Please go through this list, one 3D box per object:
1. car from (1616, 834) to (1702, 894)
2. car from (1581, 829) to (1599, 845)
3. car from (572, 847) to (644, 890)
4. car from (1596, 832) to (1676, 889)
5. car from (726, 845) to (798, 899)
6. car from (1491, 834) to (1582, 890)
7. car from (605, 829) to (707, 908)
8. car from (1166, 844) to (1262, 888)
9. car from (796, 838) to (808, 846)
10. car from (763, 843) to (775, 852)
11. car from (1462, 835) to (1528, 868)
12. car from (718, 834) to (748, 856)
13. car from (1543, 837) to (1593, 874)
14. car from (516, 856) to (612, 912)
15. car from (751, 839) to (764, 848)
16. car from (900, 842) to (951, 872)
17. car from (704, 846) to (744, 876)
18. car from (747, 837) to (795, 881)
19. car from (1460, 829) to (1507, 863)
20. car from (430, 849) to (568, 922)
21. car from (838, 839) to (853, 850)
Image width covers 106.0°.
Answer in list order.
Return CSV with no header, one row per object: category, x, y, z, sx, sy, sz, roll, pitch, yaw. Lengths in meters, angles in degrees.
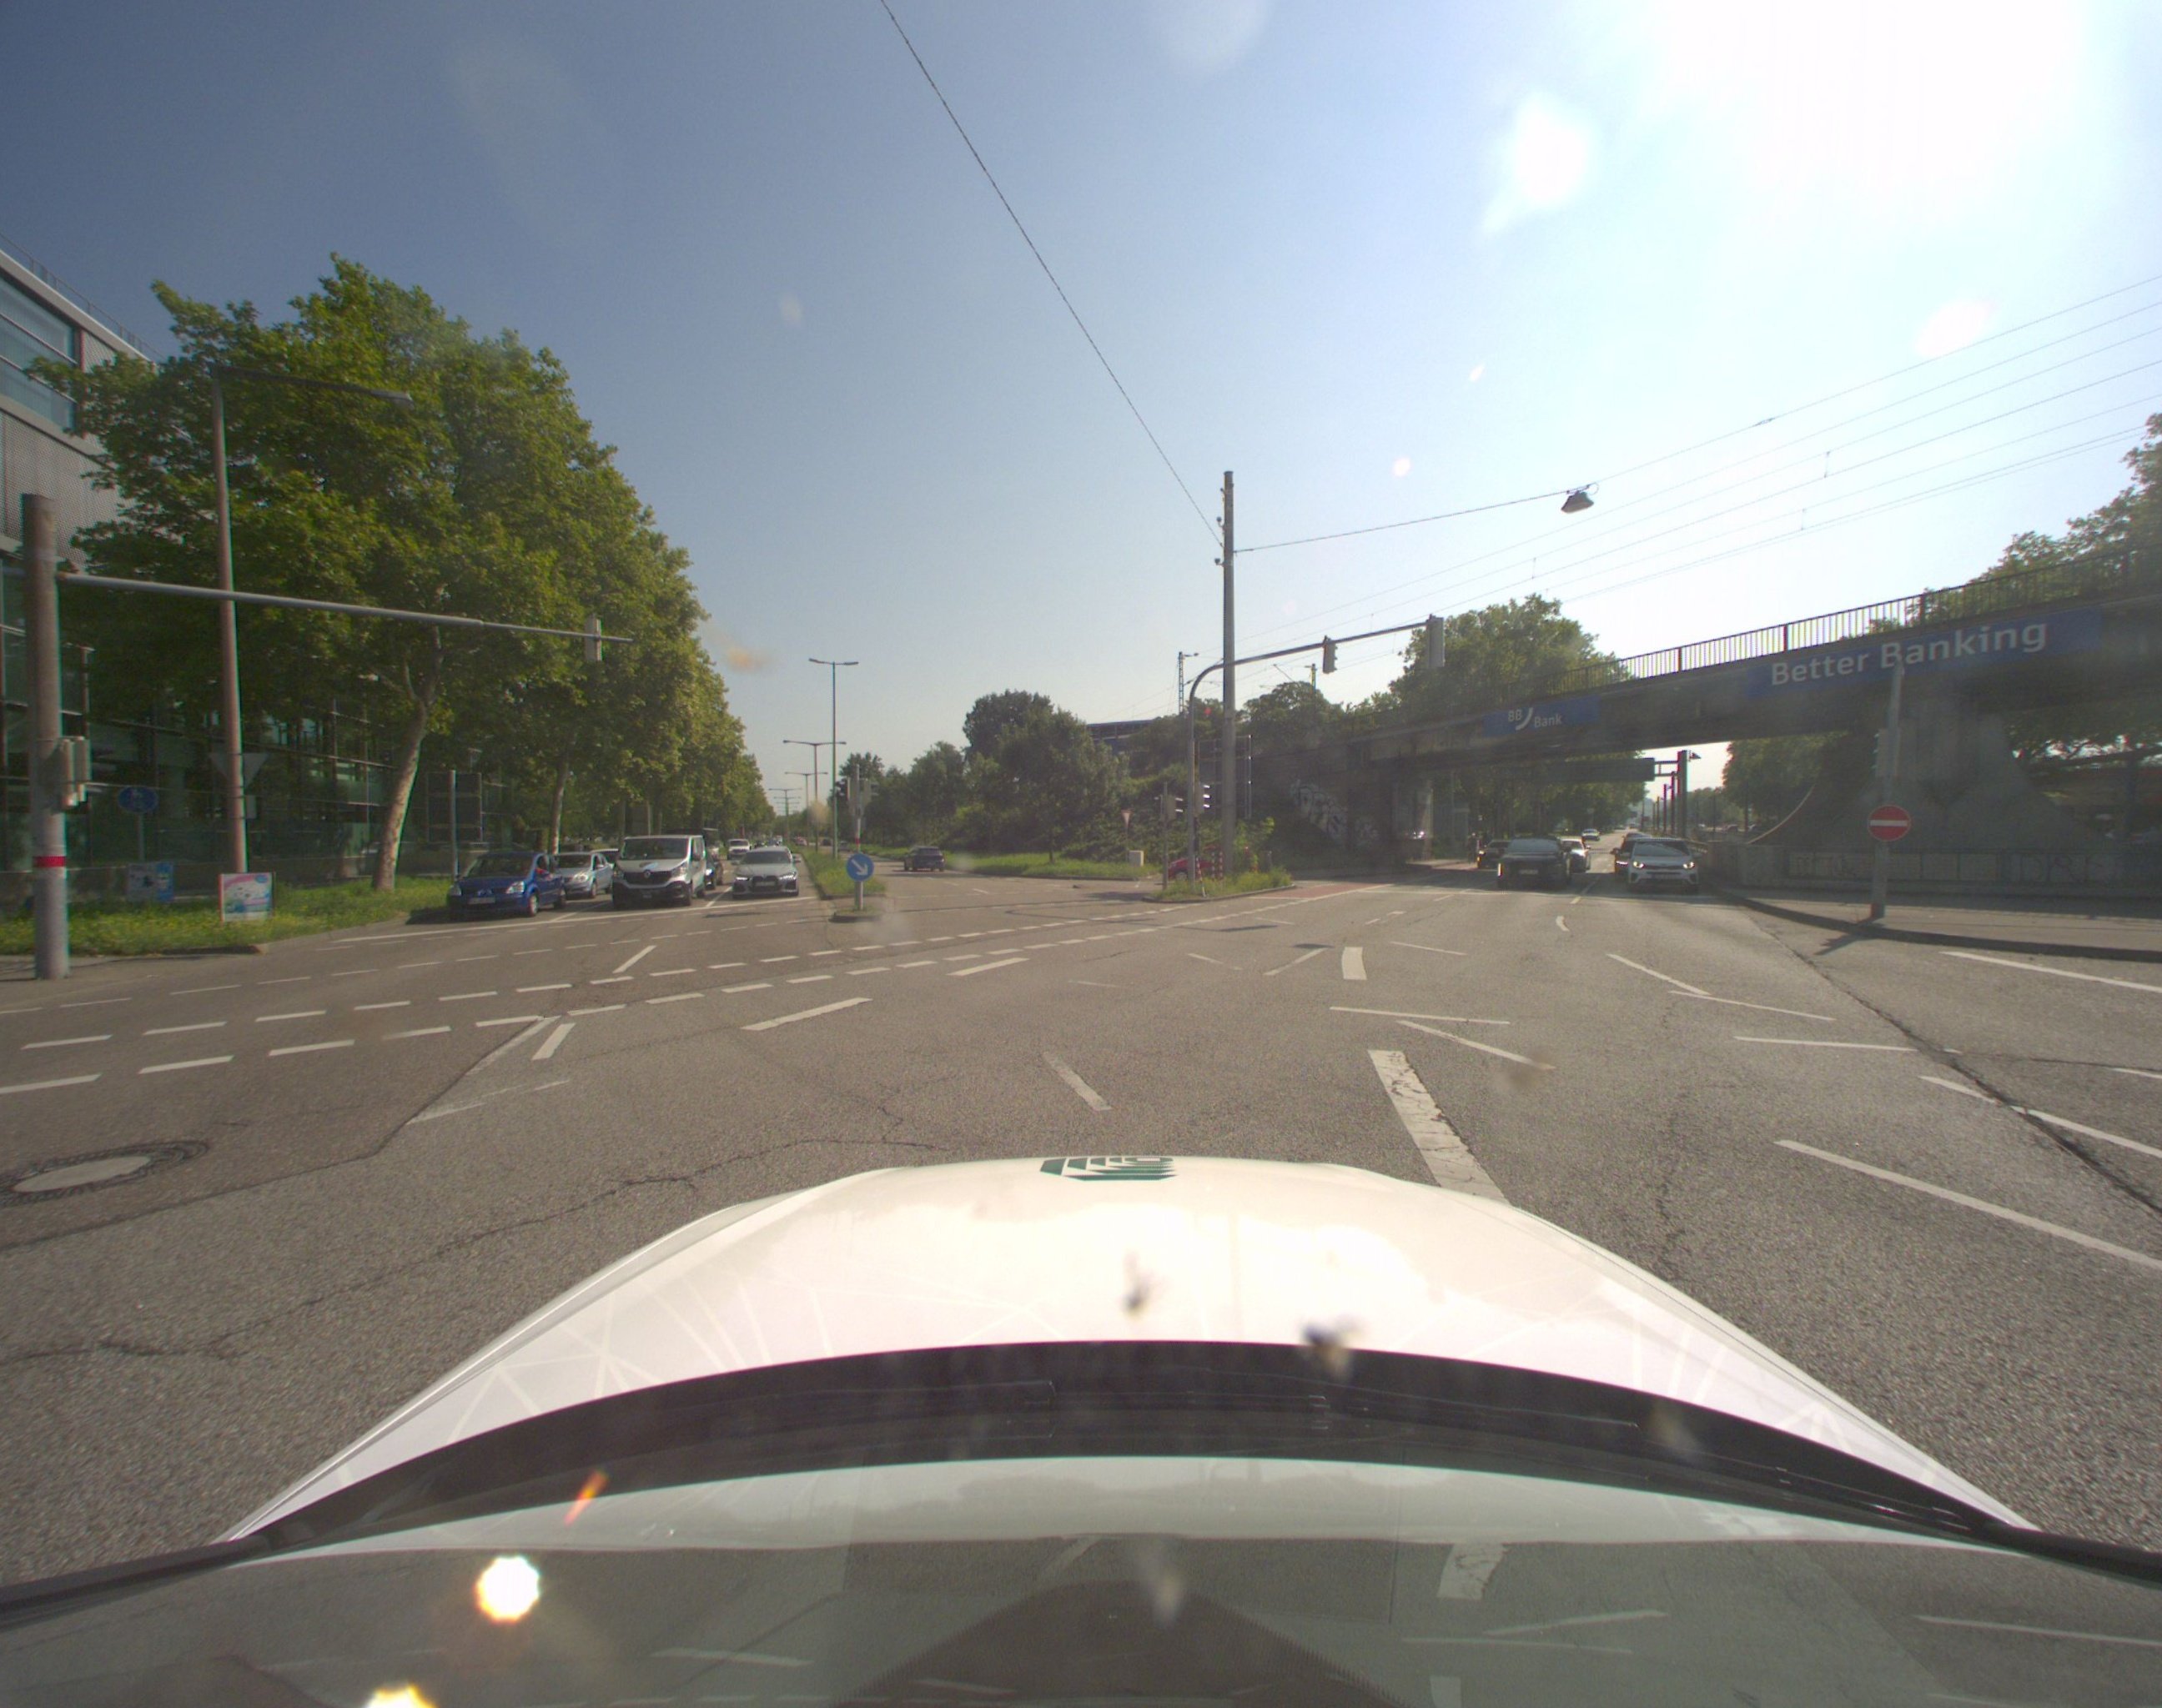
car,16.246,0.215,23.038,1.704,1.538,3.720,0,1,31
car,68.364,-2.299,109.337,1.975,2.013,4.026,4,3,33
car,-18.644,0.525,32.268,1.673,1.535,3.707,-3,1,-18
car,18.553,0.145,27.388,1.974,1.572,4.376,1,4,31
car,-9.860,0.477,25.340,1.842,1.443,4.575,-3,2,-20
car,14.520,0.201,25.815,1.883,1.617,4.503,-1,1,37
car,-11.941,0.271,23.199,1.934,1.957,5.177,-1,2,-21
car,5.153,0.440,31.729,3.522,1.467,1.648,2,2,8
car,-59.427,-2.613,173.606,1.996,1.701,3.981,-1,1,-14
car,-55.685,-1.200,145.322,1.852,1.489,4.614,-4,2,-19
car,20.540,-0.170,40.298,1.974,1.463,4.919,0,2,38
car,-33.282,-0.919,77.825,1.940,1.960,5.139,-3,3,-31
car,21.101,0.018,35.240,1.674,1.360,4.026,4,3,33
car,-16.399,0.881,26.031,1.673,1.535,3.707,-3,1,-18
car,-62.788,-2.006,158.144,1.856,1.605,4.569,-1,0,-28
car,-8.852,0.137,46.176,1.790,1.427,3.966,0,3,-27
car,-19.827,0.336,45.337,1.673,1.535,3.707,-3,1,-18
car,-12.218,0.244,32.212,1.620,1.535,4.073,-3,-1,-20
car,23.864,-0.535,48.165,1.975,1.848,4.026,4,3,33
car,-14.212,0.693,20.121,1.673,1.535,3.707,-3,1,-18
car,-36.607,-1.421,126.515,2.000,1.654,3.973,-1,1,-20
